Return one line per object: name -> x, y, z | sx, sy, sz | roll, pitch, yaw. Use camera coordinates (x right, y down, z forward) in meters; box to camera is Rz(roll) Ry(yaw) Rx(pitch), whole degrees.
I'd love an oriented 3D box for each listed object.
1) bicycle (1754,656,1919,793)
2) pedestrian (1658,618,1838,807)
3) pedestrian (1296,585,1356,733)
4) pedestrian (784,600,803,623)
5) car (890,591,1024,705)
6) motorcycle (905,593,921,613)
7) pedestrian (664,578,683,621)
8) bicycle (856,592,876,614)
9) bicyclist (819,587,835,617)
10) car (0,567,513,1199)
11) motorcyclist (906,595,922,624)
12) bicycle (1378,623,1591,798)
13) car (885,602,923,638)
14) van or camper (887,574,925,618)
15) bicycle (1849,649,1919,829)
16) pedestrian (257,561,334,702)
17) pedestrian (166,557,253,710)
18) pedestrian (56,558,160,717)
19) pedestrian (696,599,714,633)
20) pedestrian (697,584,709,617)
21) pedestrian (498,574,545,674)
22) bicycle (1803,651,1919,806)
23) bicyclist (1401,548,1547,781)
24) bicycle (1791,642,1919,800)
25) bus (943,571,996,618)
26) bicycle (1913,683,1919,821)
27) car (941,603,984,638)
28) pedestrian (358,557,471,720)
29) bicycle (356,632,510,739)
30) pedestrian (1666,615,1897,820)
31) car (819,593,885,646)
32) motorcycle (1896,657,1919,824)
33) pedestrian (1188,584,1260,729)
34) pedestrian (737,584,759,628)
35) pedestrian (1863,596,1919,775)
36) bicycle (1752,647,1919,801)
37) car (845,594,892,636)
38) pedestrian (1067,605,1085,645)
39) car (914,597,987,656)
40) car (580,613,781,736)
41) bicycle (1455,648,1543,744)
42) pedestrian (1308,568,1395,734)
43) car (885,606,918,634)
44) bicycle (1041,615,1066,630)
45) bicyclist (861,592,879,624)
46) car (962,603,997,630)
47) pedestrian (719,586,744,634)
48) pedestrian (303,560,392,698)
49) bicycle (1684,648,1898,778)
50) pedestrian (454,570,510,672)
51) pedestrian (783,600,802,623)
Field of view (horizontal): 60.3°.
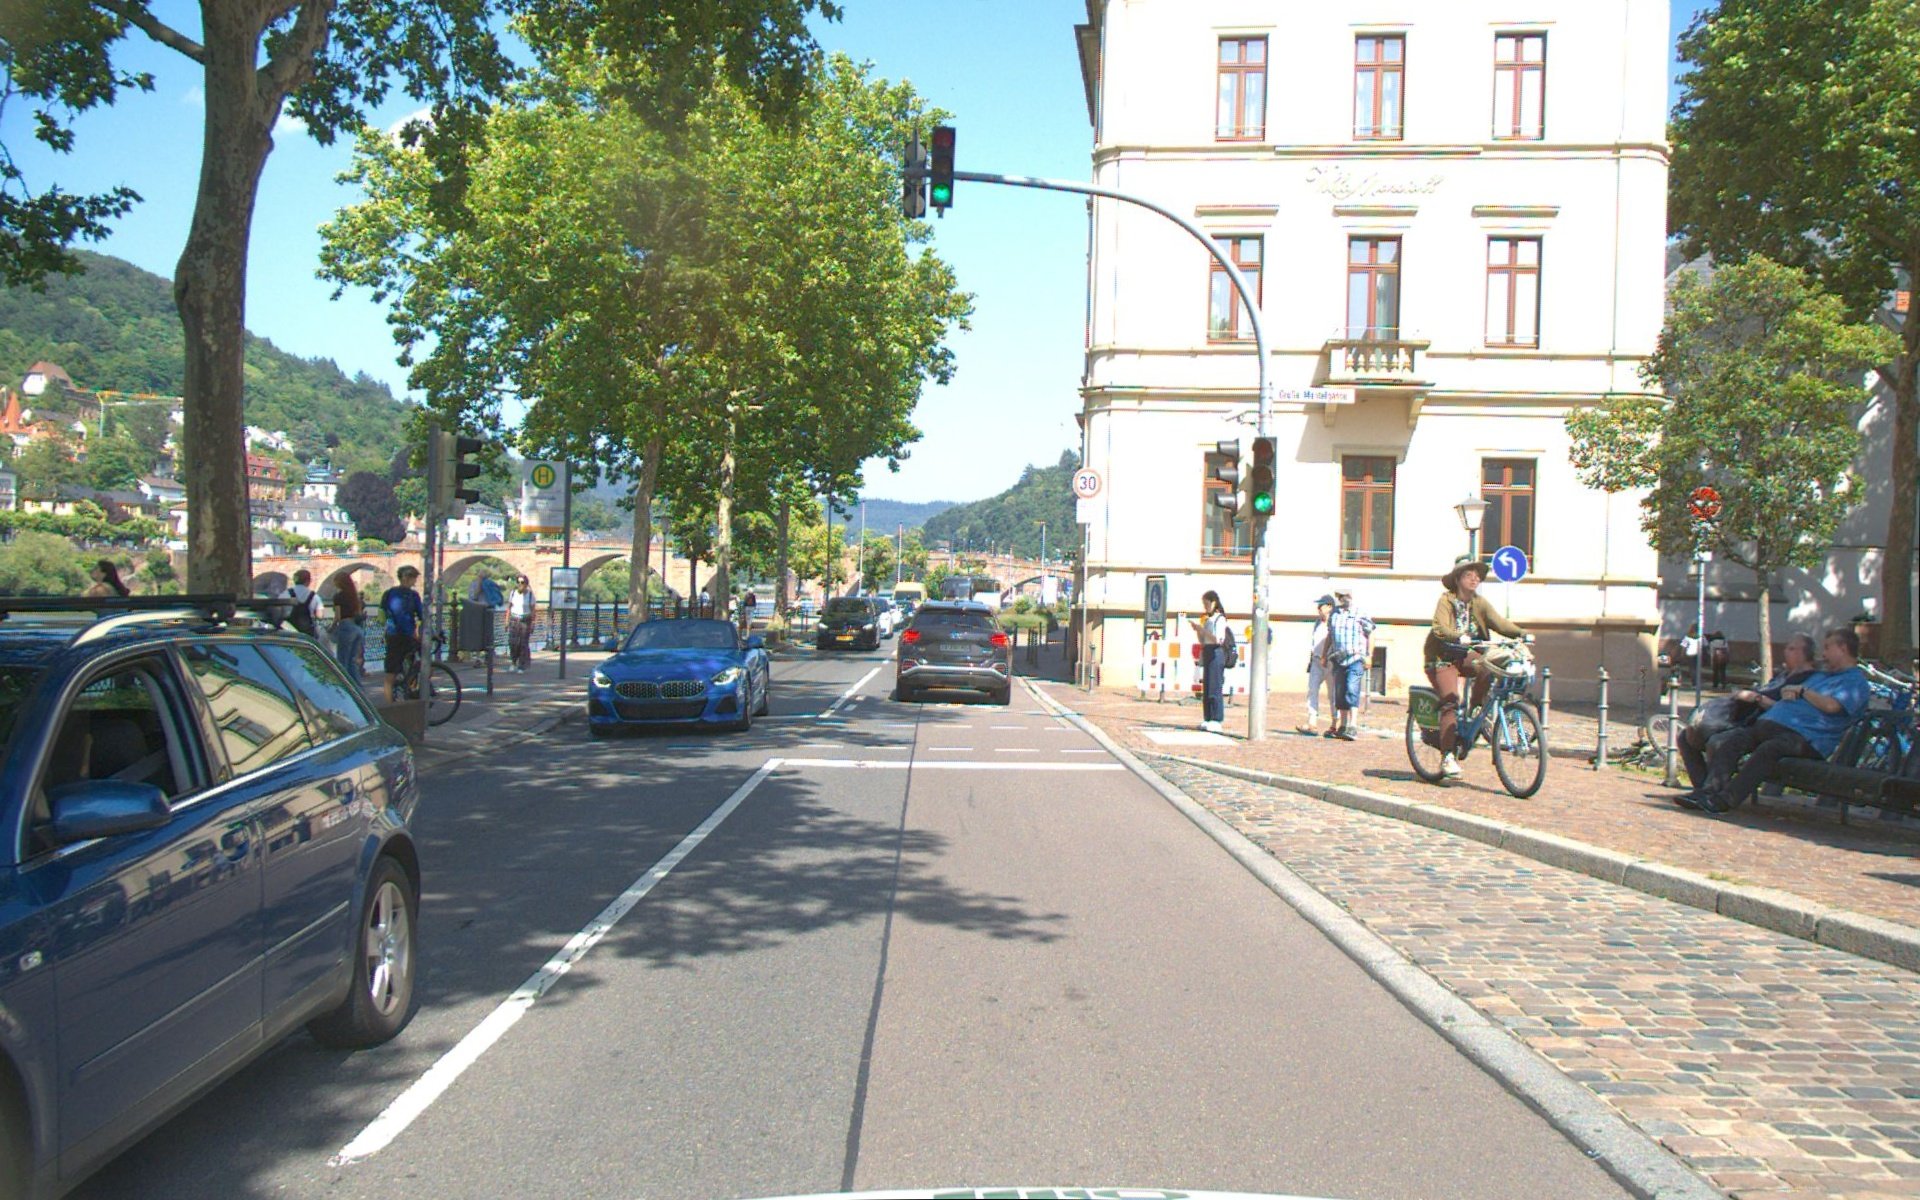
bicycle -> 8.216, 1.128, 14.946 | 1.757, 1.129, 0.608 | 3, 0, -2
pedestrian -> 5.738, 0.804, 12.085 | 0.941, 1.304, 0.693 | 2, -1, -3
pedestrian -> 4.406, 0.705, 19.950 | 0.516, 1.742, 0.665 | 2, -1, -1
pedestrian -> -9.976, 0.692, 99.180 | 0.916, 1.303, 0.850 | 2, -1, 8
car -> -0.126, 0.700, 26.491 | 1.888, 1.580, 4.830 | 3, 0, -2
motorcycle -> -2.763, 0.168, 97.059 | 0.866, 1.096, 2.326 | 1, 2, -4
pedestrian -> -13.355, -0.008, 77.084 | 0.679, 1.979, 0.886 | 2, -1, -1
bicycle -> -4.827, 0.139, 85.050 | 0.725, 1.096, 1.954 | 3, 0, 4
bicyclist -> -7.249, 0.121, 90.272 | 0.704, 1.611, 1.089 | 2, -1, 1
car -> -2.630, 0.739, 4.288 | 1.666, 1.544, 4.405 | -1, -1, 1
motorcyclist -> -2.684, 0.561, 96.477 | 0.861, 1.611, 1.024 | 2, -1, -2
bicycle -> 3.823, 0.771, 12.246 | 0.676, 1.149, 2.005 | 2, 0, -8
car -> -2.694, 0.934, 79.070 | 1.667, 1.470, 4.090 | 3, 1, -2
van or camper -> -3.415, -0.199, 105.280 | 2.044, 2.601, 7.092 | 2, 0, 0
bicycle -> 7.669, 1.035, 11.950 | 2.038, 1.219, 0.776 | 3, 0, -2
pedestrian -> -8.419, 0.394, 20.984 | 0.639, 1.743, 0.793 | 1, 0, -1
pedestrian -> -8.756, 0.385, 19.316 | 0.606, 1.730, 0.695 | 3, -1, -1
pedestrian -> -9.239, 0.400, 17.961 | 0.538, 1.636, 0.910 | 4, -1, -1
pedestrian -> -12.627, 0.785, 81.860 | 0.679, 1.644, 0.664 | 2, -1, 7
pedestrian -> -12.688, 0.014, 81.648 | 0.406, 1.625, 0.451 | 2, -1, 7
pedestrian -> -7.432, 0.406, 28.063 | 0.483, 1.646, 0.991 | 2, -1, -1
bicycle -> 7.643, 1.012, 12.670 | 2.038, 1.104, 0.604 | 3, 0, -2
bicyclist -> 3.823, 0.471, 12.348 | 0.695, 1.656, 0.885 | 2, -1, -8
bicycle -> 8.044, 1.024, 13.680 | 2.038, 1.219, 0.527 | 3, 0, -2
bus -> 0.912, -0.392, 141.310 | 2.575, 3.626, 12.992 | 2, -1, 9
bicycle -> 7.692, 0.978, 11.167 | 2.038, 1.219, 0.776 | 3, 0, -2
car -> 0.150, 0.935, 76.930 | 1.887, 1.580, 4.832 | 1, 0, 1
pedestrian -> -6.228, 0.426, 18.875 | 1.006, 1.804, 0.765 | 1, -1, 40
bicycle -> -5.911, 0.935, 18.496 | 1.798, 0.941, 0.738 | 7, 2, 40
pedestrian -> 5.640, 0.788, 11.403 | 1.222, 1.330, 0.693 | 2, -1, -3
car -> -3.234, 0.588, 50.254 | 1.666, 1.544, 4.405 | 0, -1, 1
motorcycle -> 7.628, 1.023, 11.165 | 2.160, 1.123, 0.776 | 3, 0, -2
pedestrian -> 3.189, 0.675, 20.039 | 0.701, 1.705, 0.682 | 2, -1, -1
pedestrian -> -8.498, 0.253, 66.357 | 0.643, 1.711, 0.758 | 4, -1, -1
pedestrian -> 9.989, 0.878, 17.047 | 0.982, 1.796, 0.913 | 2, -1, -43
bicycle -> 8.024, 1.080, 14.281 | 2.038, 1.219, 0.608 | 3, 0, -2
car -> -3.564, 0.559, 63.859 | 1.701, 1.544, 4.400 | 1, 0, -5
pedestrian -> 5.144, 1.097, 73.490 | 0.746, 1.743, 0.696 | -1, -1, 3
car -> -0.271, 0.695, 46.093 | 1.887, 1.486, 4.831 | 2, 0, -1
car -> -3.284, 0.831, 20.217 | 1.803, 1.291, 4.260 | -1, 0, -2
bicycle -> 6.110, 1.087, 18.805 | 0.497, 1.021, 1.580 | 3, -3, 1
pedestrian -> 4.554, 0.585, 19.266 | 0.611, 1.884, 0.721 | 2, -1, -35
car -> -3.185, 1.100, 90.845 | 1.666, 1.484, 4.001 | 1, 0, 0
bicycle -> 6.739, 1.617, 119.264 | 1.772, 0.893, 0.502 | 4, 0, 3
bicyclist -> -4.614, 0.386, 84.795 | 0.751, 1.558, 1.025 | 3, 1, 1
car -> 1.239, 1.015, 103.432 | 1.886, 1.580, 4.834 | 1, 0, 4
pedestrian -> -7.854, 0.357, 56.879 | 0.746, 1.614, 0.695 | 2, -1, -1
pedestrian -> -7.987, 0.370, 21.588 | 0.818, 1.743, 0.782 | 2, -1, -1
bicycle -> 8.057, 1.087, 16.069 | 1.757, 1.129, 0.563 | 3, 0, -2
pedestrian -> -8.706, 0.381, 30.171 | 0.697, 1.795, 0.972 | 2, -1, -1
pedestrian -> -10.000, 0.689, 98.979 | 0.916, 1.303, 0.850 | 2, -1, 8
